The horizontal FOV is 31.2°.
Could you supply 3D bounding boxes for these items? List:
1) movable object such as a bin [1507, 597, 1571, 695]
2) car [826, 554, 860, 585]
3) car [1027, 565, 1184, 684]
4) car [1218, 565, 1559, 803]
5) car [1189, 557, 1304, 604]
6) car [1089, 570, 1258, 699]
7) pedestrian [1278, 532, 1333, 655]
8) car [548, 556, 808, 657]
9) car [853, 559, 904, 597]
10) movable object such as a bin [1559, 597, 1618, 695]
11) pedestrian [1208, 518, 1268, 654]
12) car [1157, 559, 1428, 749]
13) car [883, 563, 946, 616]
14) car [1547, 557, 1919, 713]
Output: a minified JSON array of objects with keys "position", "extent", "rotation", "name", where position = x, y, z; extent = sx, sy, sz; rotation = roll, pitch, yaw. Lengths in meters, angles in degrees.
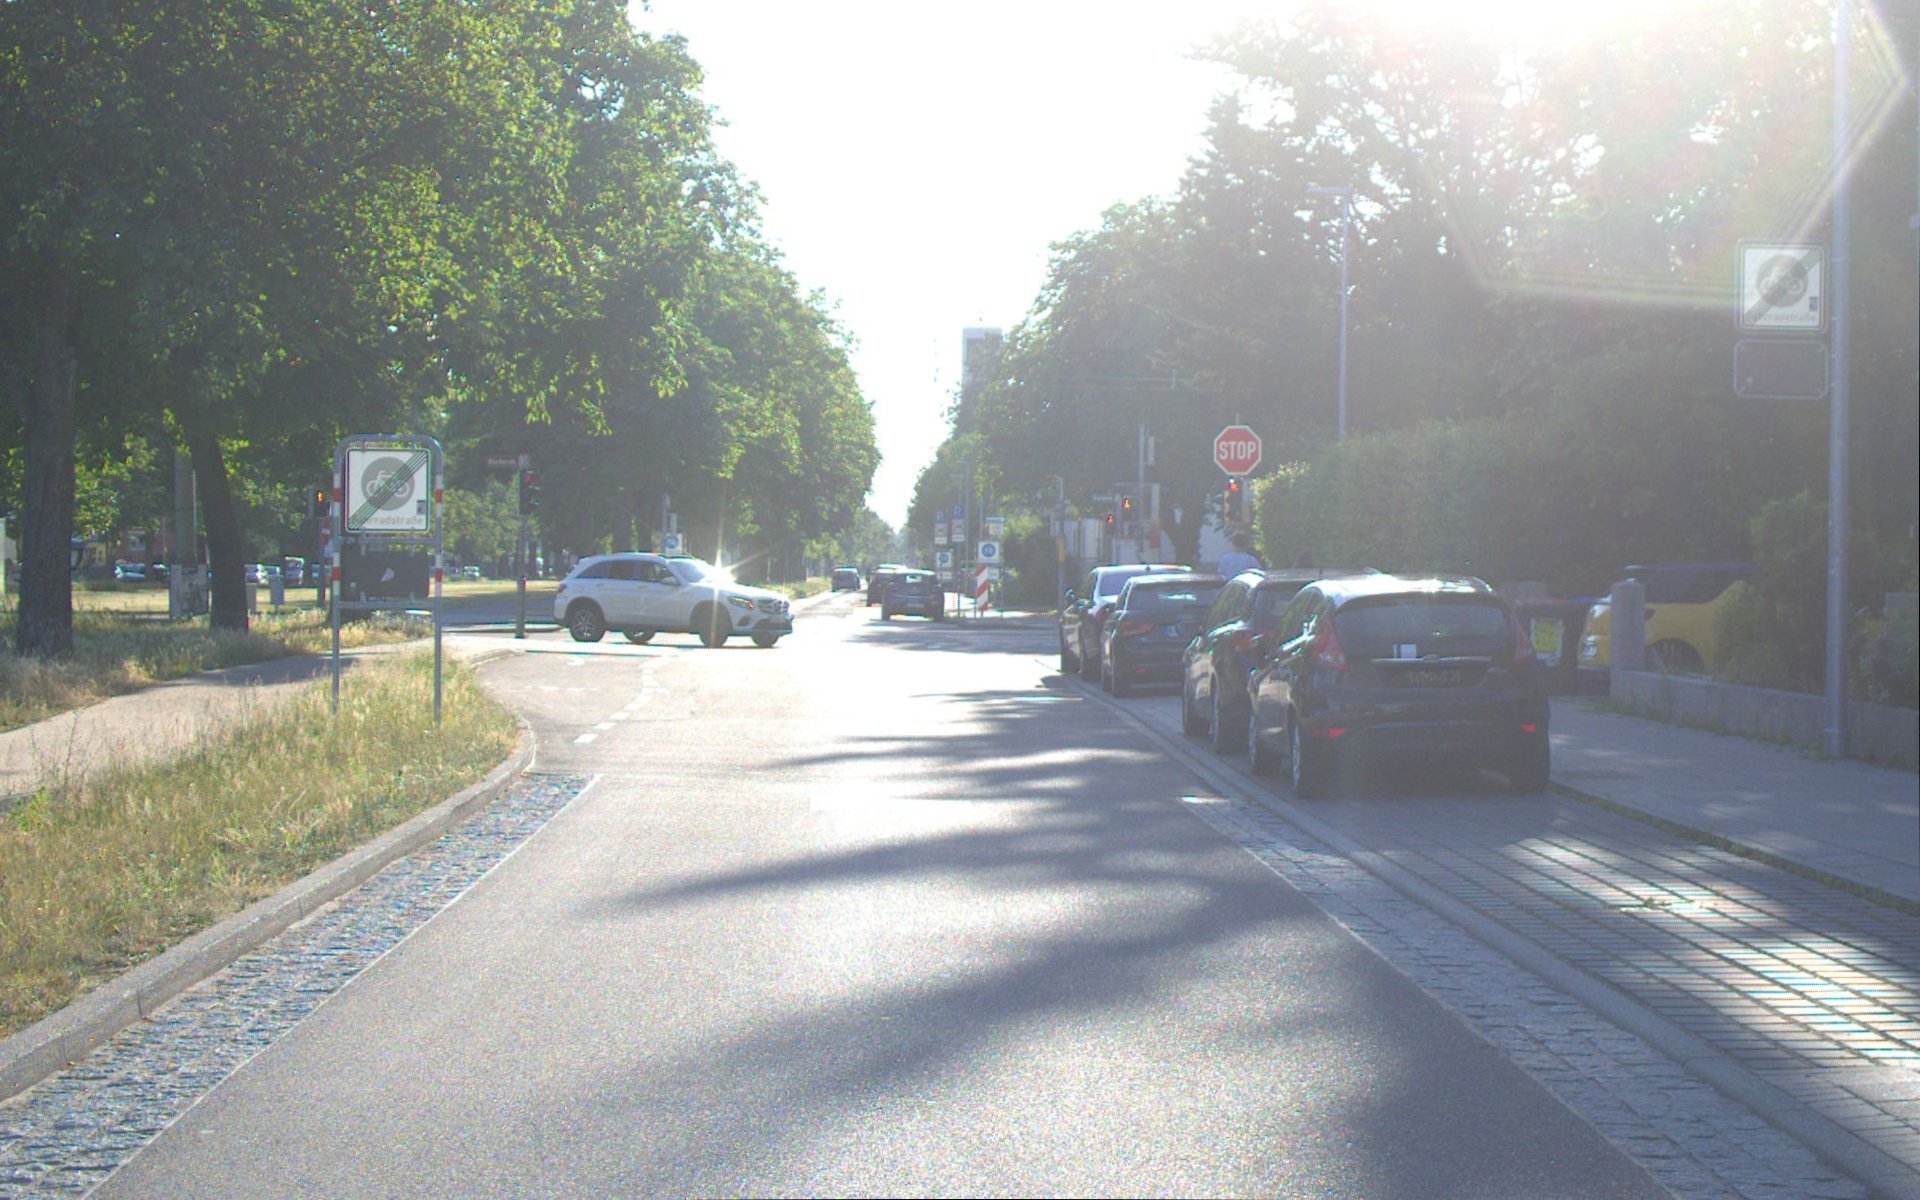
[{"position":[6.276,0.492,37.277],"extent":[0.507,1.039,0.659],"rotation":[1,1,-7],"name":"movable object such as a bin"},{"position":[-7.737,-2.022,227.745],"extent":[2.134,2.007,3.902],"rotation":[1,1,0],"name":"car"},{"position":[1.949,0.301,47.371],"extent":[1.859,1.537,4.873],"rotation":[1,0,-1],"name":"car"},{"position":[2.888,0.513,23.938],"extent":[1.718,1.466,3.984],"rotation":[-2,1,-2],"name":"car"},{"position":[9.886,-0.673,118.749],"extent":[3.779,1.520,1.744],"rotation":[1,2,-1],"name":"car"},{"position":[2.475,0.370,40.563],"extent":[1.641,1.423,3.937],"rotation":[-1,1,-1],"name":"car"},{"position":[4.799,-0.092,47.758],"extent":[0.669,1.702,0.623],"rotation":[1,0,-1],"name":"pedestrian"},{"position":[-5.193,0.113,63.229],"extent":[4.418,1.671,1.894],"rotation":[3,0,29],"name":"car"},{"position":[-3.087,-0.850,131.568],"extent":[1.845,1.389,3.829],"rotation":[1,1,0],"name":"car"},{"position":[6.827,0.498,37.333],"extent":[0.507,1.039,0.417],"rotation":[1,1,-7],"name":"movable object such as a bin"},{"position":[3.853,-0.194,47.728],"extent":[0.670,1.859,0.882],"rotation":[1,1,-4],"name":"pedestrian"},{"position":[2.749,0.403,29.272],"extent":[1.746,1.469,4.256],"rotation":[1,1,-2],"name":"car"},{"position":[-1.284,-0.312,97.430],"extent":[1.641,1.446,3.307],"rotation":[1,1,1],"name":"car"},{"position":[7.993,0.337,35.180],"extent":[3.633,1.491,1.781],"rotation":[-1,1,-1],"name":"car"}]
